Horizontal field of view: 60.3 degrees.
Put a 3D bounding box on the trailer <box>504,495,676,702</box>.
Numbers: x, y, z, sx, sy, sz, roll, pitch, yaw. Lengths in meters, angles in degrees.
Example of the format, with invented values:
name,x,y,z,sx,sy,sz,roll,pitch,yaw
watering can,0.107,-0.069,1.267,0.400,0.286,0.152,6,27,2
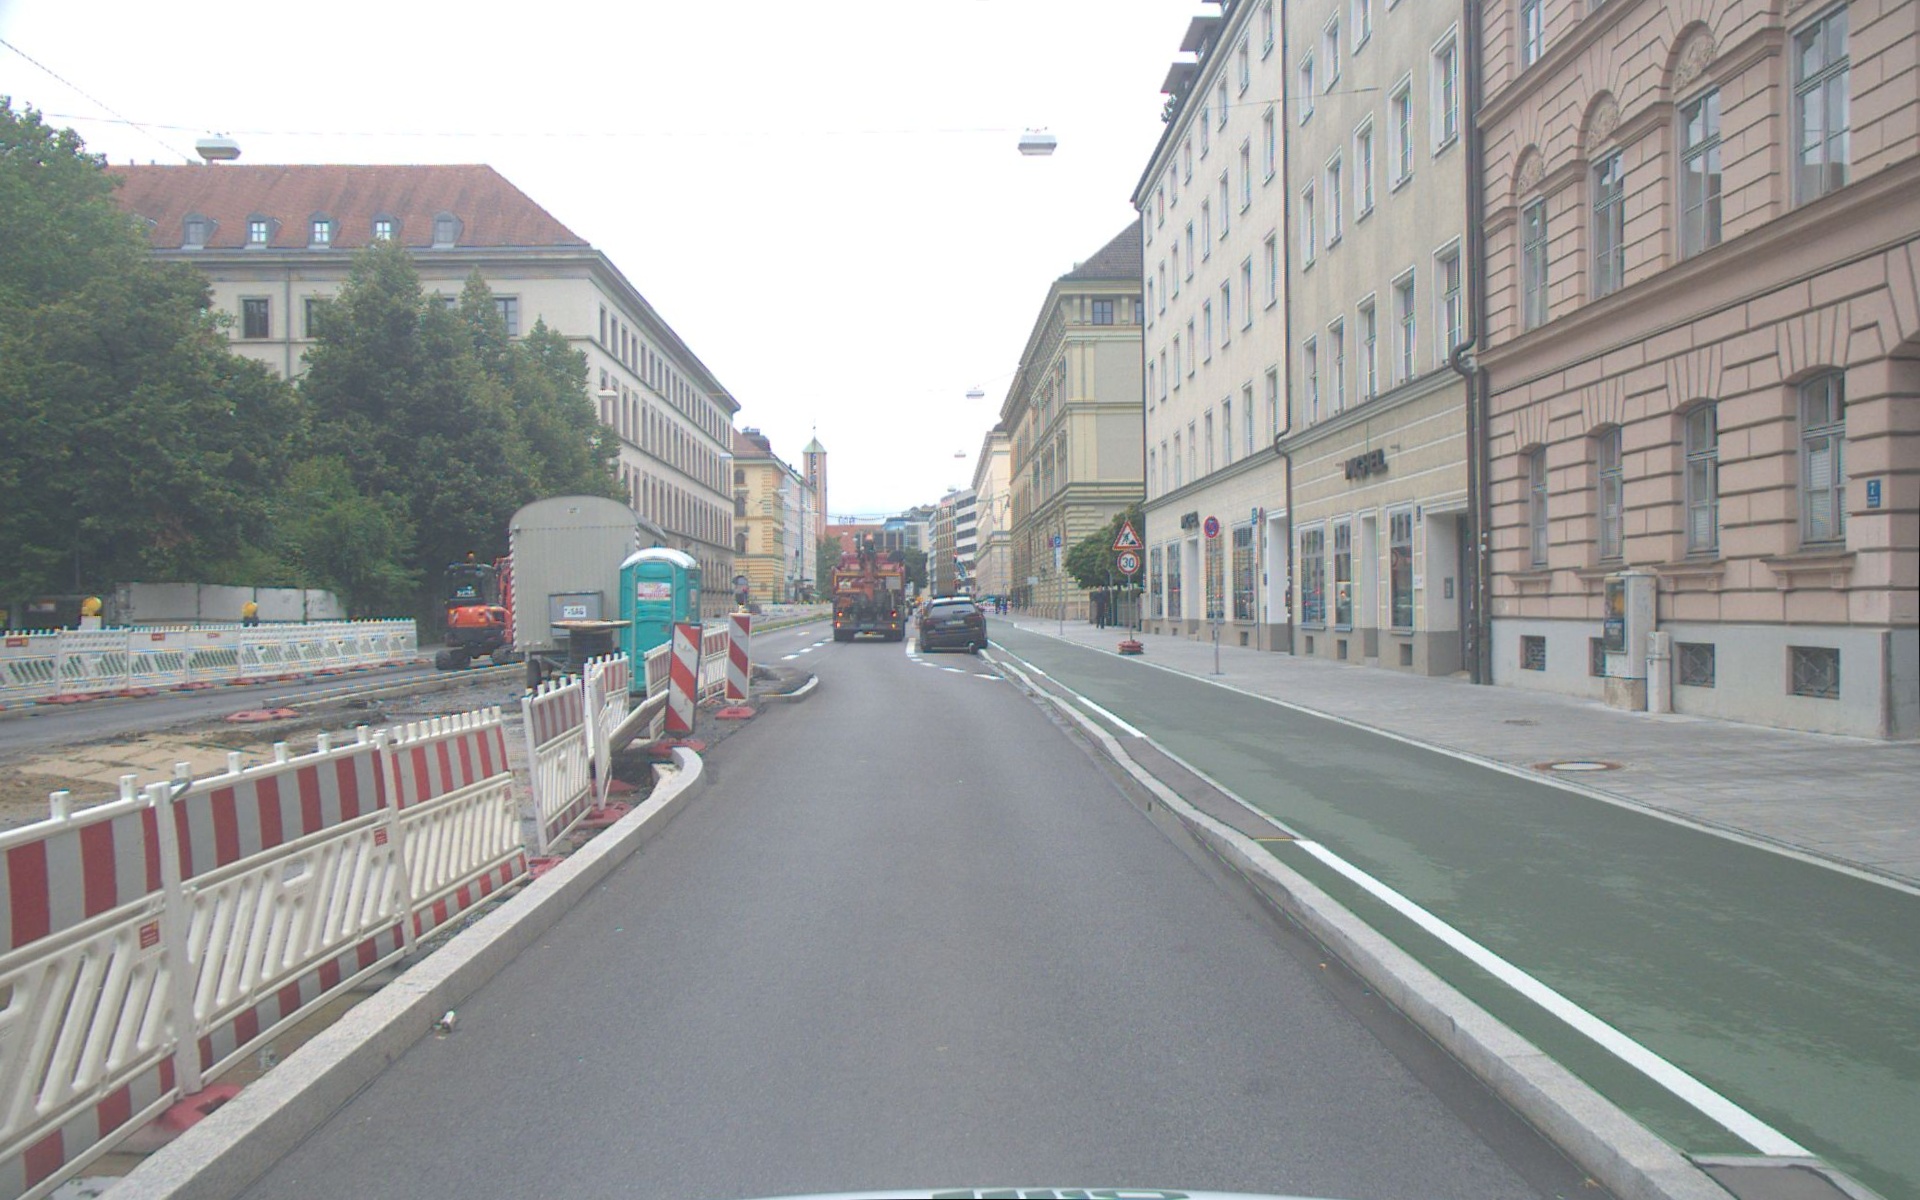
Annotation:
name,x,y,z,sx,sy,sz,roll,pitch,yaw
trailer,-6.570,-0.025,30.295,2.184,3.300,7.509,-1,0,-6

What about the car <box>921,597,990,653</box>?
name,x,y,z,sx,sy,sz,roll,pitch,yaw
car,-0.175,0.686,47.710,1.765,1.506,4.684,-1,0,-2

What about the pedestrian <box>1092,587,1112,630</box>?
name,x,y,z,sx,sy,sz,roll,pitch,yaw
pedestrian,6.271,0.361,73.077,0.774,1.868,0.777,-1,0,0

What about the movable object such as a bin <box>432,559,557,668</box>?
name,x,y,z,sx,sy,sz,roll,pitch,yaw
movable object such as a bin,-11.689,0.308,41.812,1.884,2.617,4.492,0,0,0

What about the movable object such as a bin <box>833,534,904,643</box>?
name,x,y,z,sx,sy,sz,roll,pitch,yaw
movable object such as a bin,-3.206,-0.383,58.742,2.375,3.675,5.848,0,0,-3
